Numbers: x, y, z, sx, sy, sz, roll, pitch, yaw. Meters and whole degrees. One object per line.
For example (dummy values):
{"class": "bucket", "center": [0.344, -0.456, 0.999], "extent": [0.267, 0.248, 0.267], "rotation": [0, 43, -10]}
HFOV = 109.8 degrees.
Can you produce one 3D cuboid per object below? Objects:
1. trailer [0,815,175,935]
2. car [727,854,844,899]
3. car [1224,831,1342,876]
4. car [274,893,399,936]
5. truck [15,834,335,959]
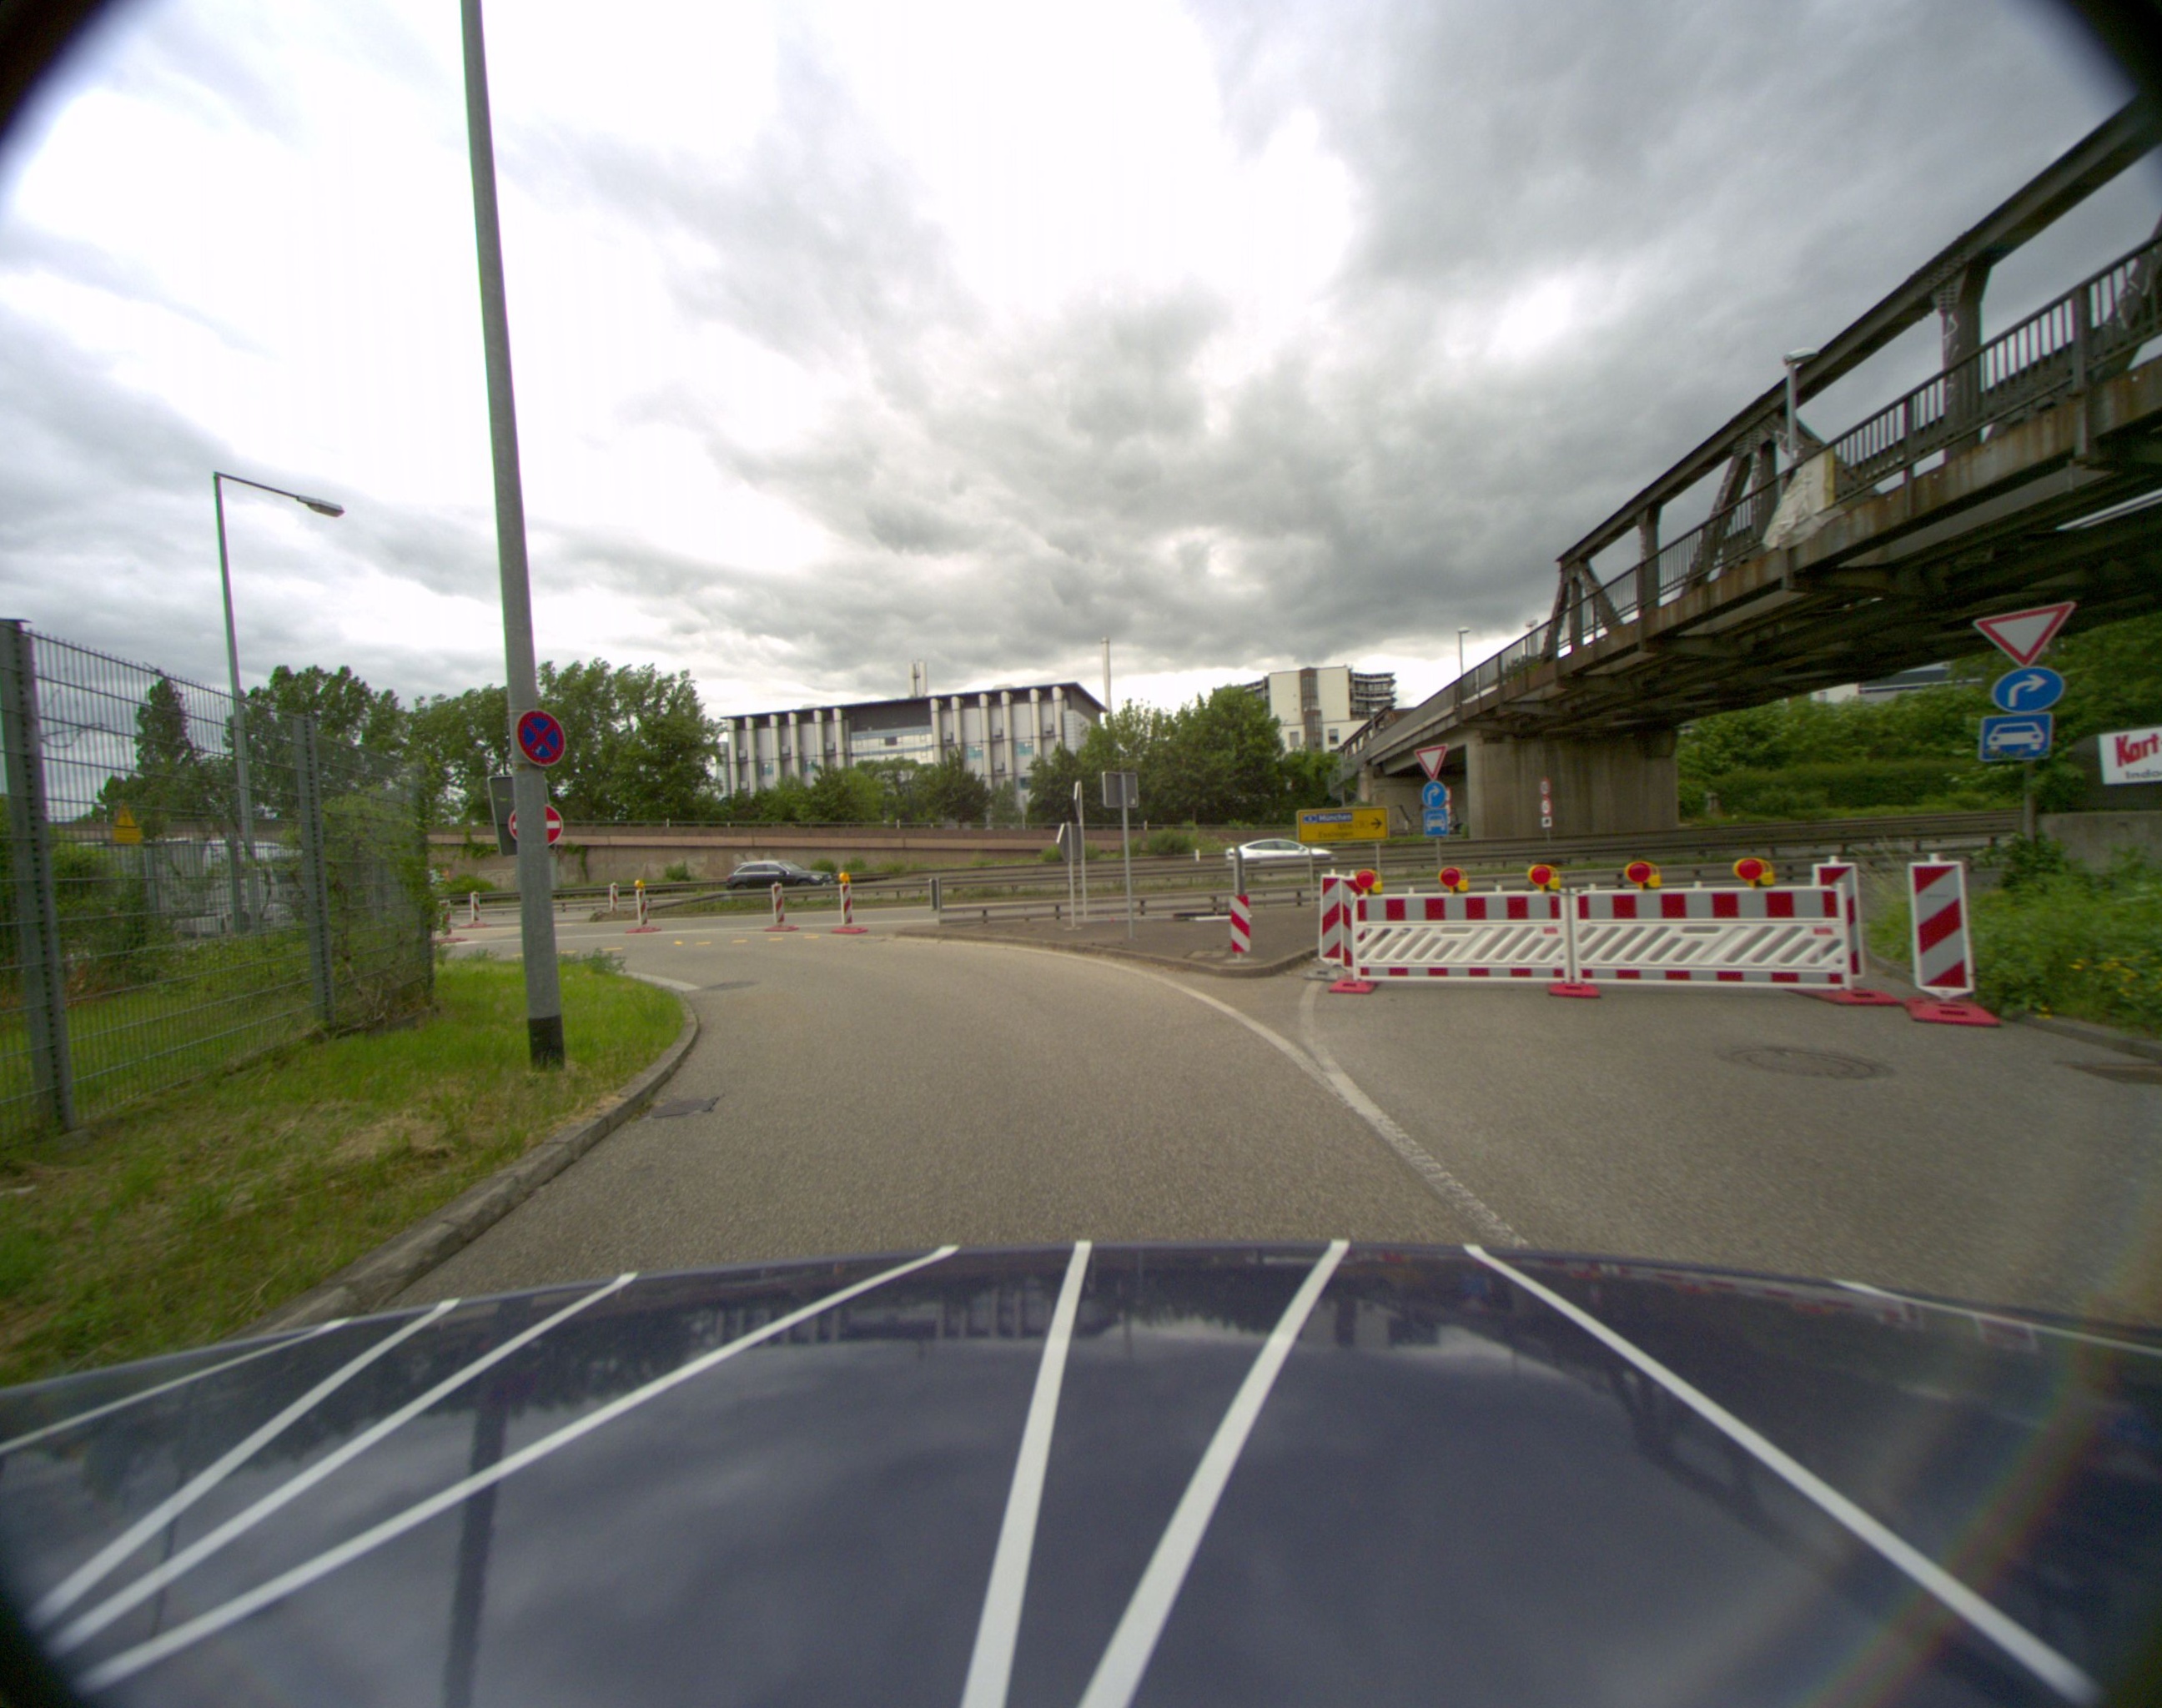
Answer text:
{"class": "trailer", "center": [-44.153, 1.023, 29.538], "extent": [13.255, 4.301, 3.164], "rotation": [-3, 4, -1]}
{"class": "car", "center": [-13.092, 0.981, 33.870], "extent": [4.287, 1.504, 1.979], "rotation": [-3, 8, 5]}
{"class": "car", "center": [8.445, -0.039, 32.058], "extent": [4.455, 1.534, 1.999], "rotation": [-3, 5, 4]}
{"class": "car", "center": [-35.108, 2.846, 35.915], "extent": [3.996, 1.693, 1.937], "rotation": [-3, 0, 2]}
{"class": "truck", "center": [-35.166, 1.551, 29.806], "extent": [8.135, 4.109, 3.162], "rotation": [-3, 4, 0]}
